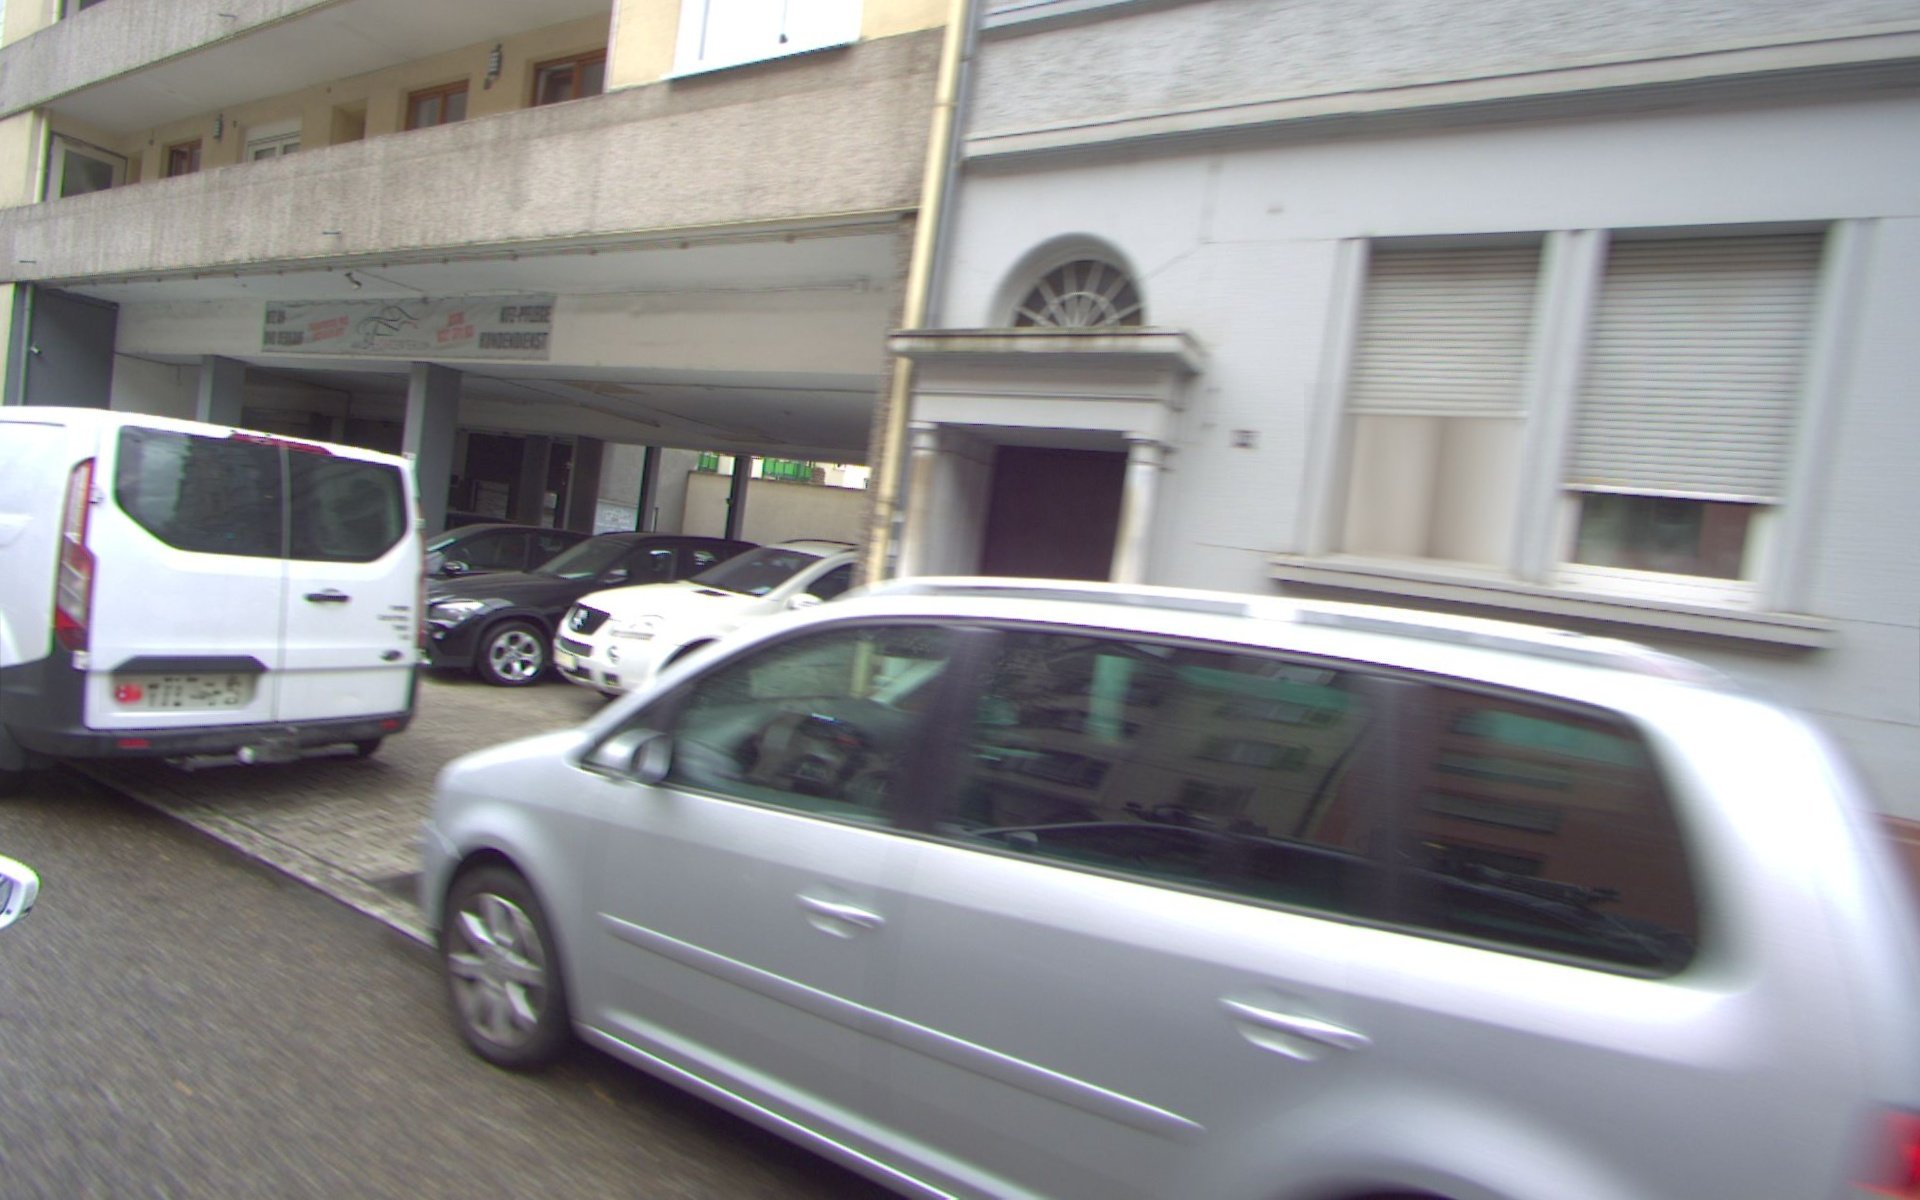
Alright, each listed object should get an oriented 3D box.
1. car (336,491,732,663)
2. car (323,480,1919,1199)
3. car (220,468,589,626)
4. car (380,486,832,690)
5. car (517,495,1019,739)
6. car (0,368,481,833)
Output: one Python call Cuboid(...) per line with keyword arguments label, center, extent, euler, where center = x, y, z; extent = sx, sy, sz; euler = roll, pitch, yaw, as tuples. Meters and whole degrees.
Cuboid(label="car", center=(-5.288, -0.209, 12.917), extent=(1.644, 1.662, 4.275), euler=(10, 3, 44))
Cuboid(label="car", center=(0.059, 0.671, 3.114), extent=(4.217, 1.693, 1.726), euler=(7, 3, 32))
Cuboid(label="car", center=(-7.851, -0.690, 14.526), extent=(1.644, 1.662, 4.275), euler=(10, 3, 44))
Cuboid(label="car", center=(-3.811, -0.037, 11.370), extent=(1.883, 1.748, 4.314), euler=(10, 3, 44))
Cuboid(label="car", center=(-1.738, 0.241, 9.913), extent=(4.307, 1.828, 1.982), euler=(6, 3, -41))
Cuboid(label="car", center=(-5.403, -0.190, 6.424), extent=(4.548, 2.034, 1.982), euler=(7, 2, 32))
